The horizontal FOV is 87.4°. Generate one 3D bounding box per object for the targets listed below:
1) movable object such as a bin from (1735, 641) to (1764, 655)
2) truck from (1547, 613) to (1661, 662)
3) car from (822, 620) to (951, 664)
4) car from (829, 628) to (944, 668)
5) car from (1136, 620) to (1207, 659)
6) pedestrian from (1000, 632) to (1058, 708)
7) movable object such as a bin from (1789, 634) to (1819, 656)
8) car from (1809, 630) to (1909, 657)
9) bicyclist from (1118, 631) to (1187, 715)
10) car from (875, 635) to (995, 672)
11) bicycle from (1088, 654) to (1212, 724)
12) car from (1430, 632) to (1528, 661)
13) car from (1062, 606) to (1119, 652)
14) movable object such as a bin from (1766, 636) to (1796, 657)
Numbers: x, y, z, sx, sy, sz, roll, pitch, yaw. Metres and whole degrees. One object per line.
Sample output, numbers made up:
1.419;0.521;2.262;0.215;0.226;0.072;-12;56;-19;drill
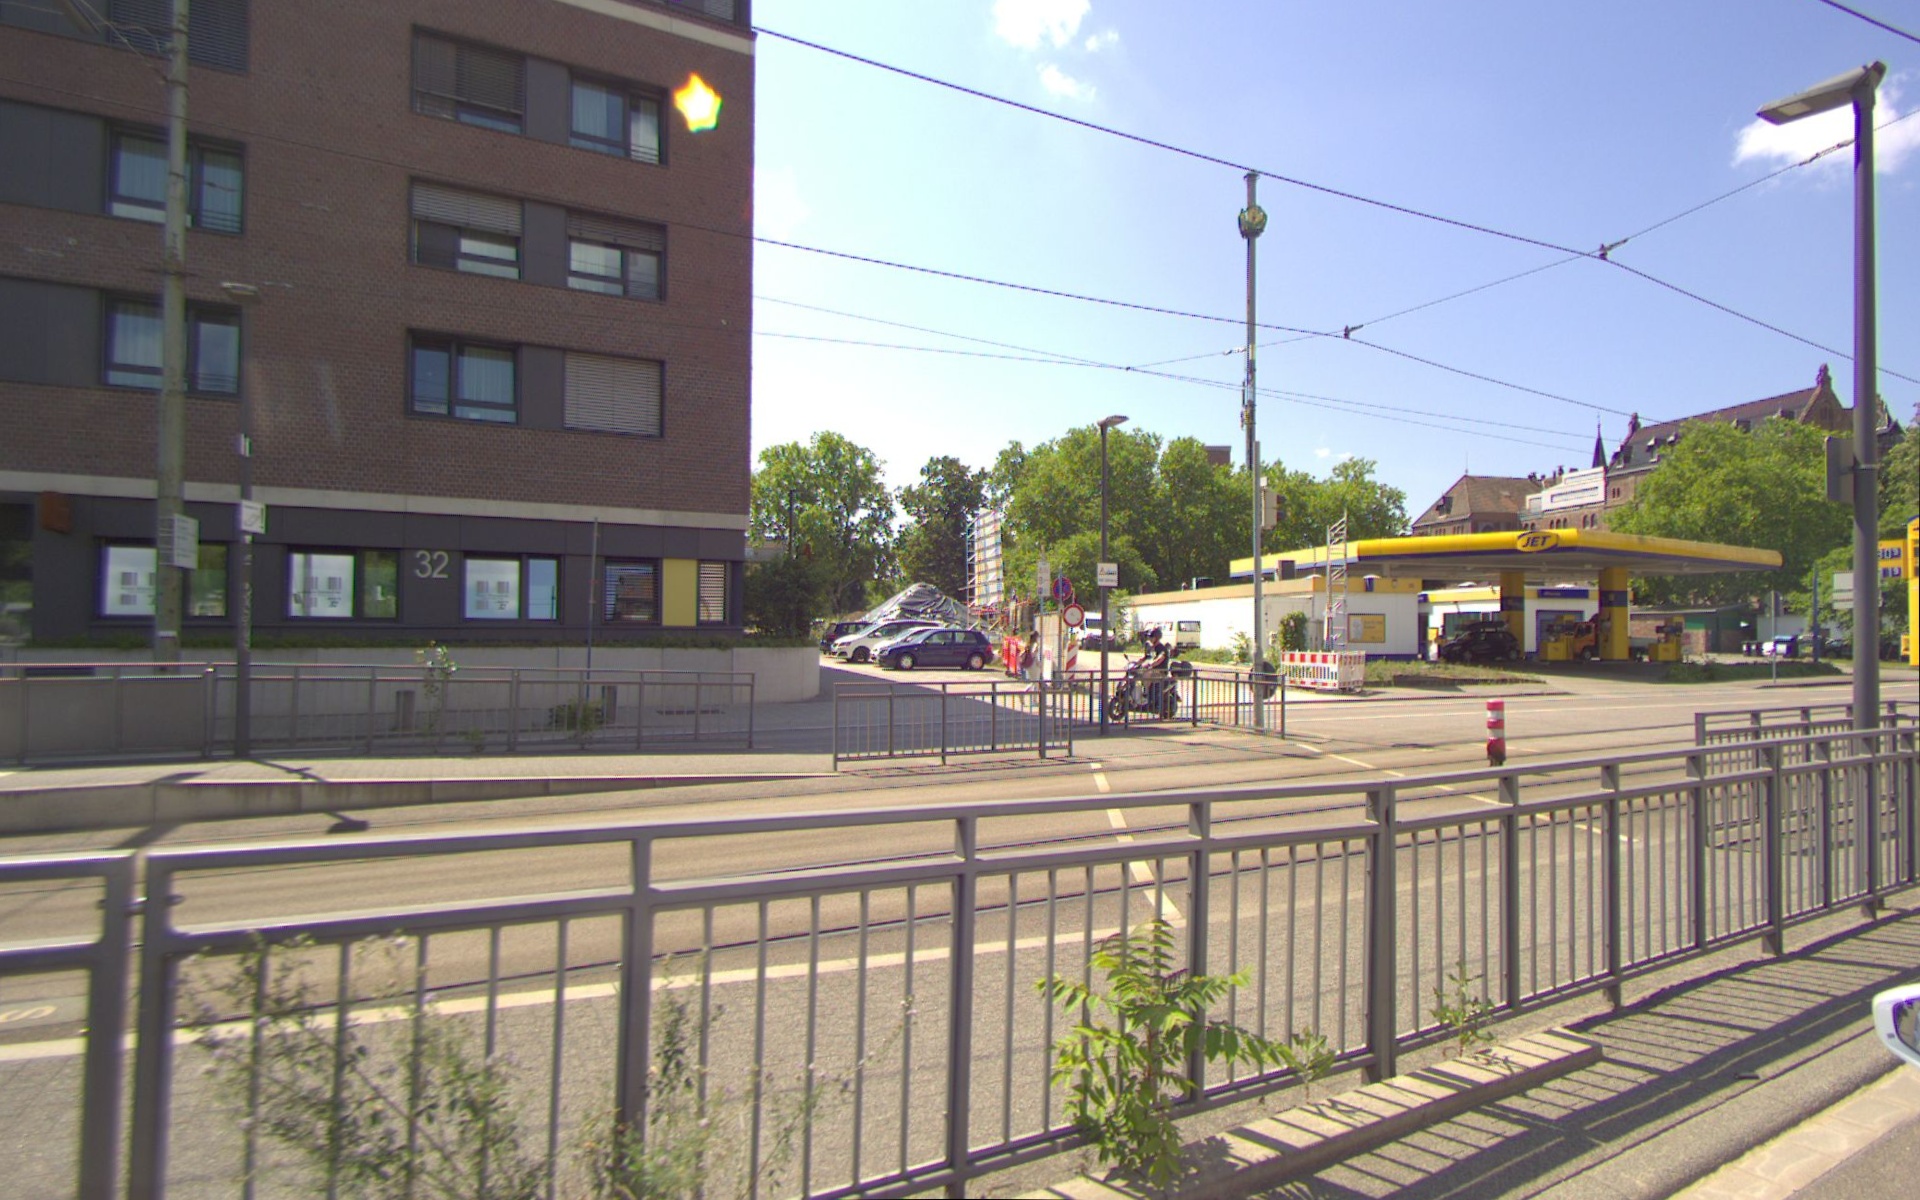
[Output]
53.065;3.230;67.502;0.745;0.885;1.345;1;-2;-15;movable object such as a bin
35.113;2.066;54.841;5.104;2.531;1.999;1;-2;-5;truck
-2.940;1.691;40.253;4.771;1.672;2.110;1;-2;-25;car
-2.721;1.767;37.317;3.944;1.439;1.666;1;-2;-24;car
10.915;2.032;52.124;1.863;1.962;4.241;1;-2;-16;car
1.539;1.543;22.468;0.989;1.617;0.755;1;2;-33;pedestrian
53.643;2.879;63.876;0.751;1.372;1.335;1;-2;-37;movable object such as a bin
56.072;2.702;62.730;4.245;1.611;2.002;0;-2;9;car
3.635;1.354;18.974;1.054;1.524;0.754;1;-2;-34;bicyclist
-0.913;1.876;35.301;3.932;1.176;1.823;1;0;-14;car
3.599;1.643;18.943;2.362;1.238;0.812;1;-3;-32;bicycle
27.585;2.491;53.495;4.261;1.498;1.998;1;-2;-7;car
8.213;1.841;63.717;2.085;2.811;4.486;1;-2;-14;car
53.555;3.043;65.547;0.747;1.372;1.341;1;-2;-23;movable object such as a bin
